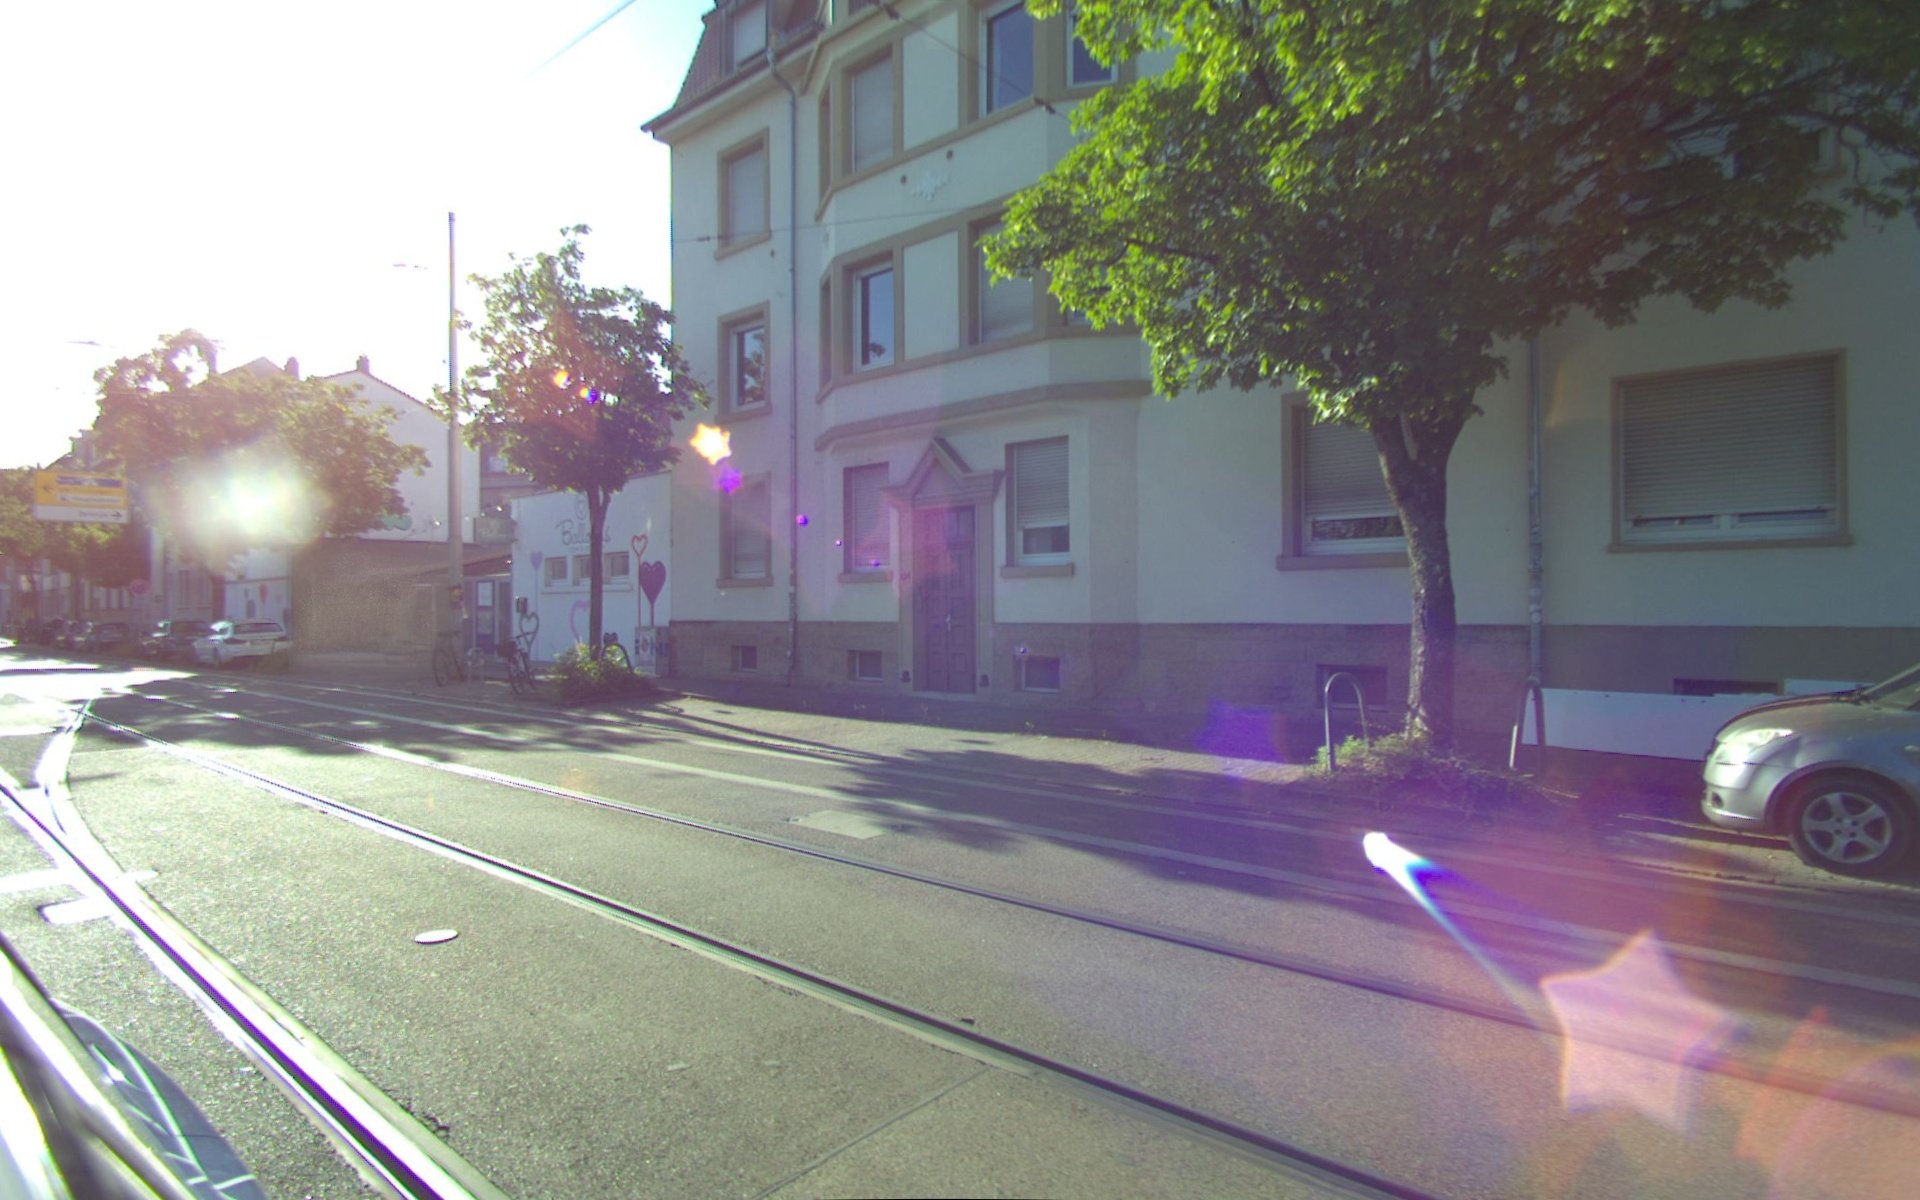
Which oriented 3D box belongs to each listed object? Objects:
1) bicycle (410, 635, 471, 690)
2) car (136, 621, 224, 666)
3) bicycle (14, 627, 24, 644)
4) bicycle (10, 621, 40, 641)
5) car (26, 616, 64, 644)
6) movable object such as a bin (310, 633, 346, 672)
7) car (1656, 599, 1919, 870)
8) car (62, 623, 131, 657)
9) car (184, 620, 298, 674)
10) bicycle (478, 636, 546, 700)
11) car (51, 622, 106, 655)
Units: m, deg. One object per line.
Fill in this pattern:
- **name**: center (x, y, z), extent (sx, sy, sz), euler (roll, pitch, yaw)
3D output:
- **bicycle**: center (-10.990, 1.299, 21.464), extent (0.658, 1.048, 1.791), euler (-1, 0, -11)
- **car**: center (-28.394, 1.530, 36.792), extent (4.303, 1.497, 1.754), euler (-1, 0, 41)
- **bicycle**: center (-59.768, 2.247, 64.282), extent (1.661, 1.050, 0.299), euler (-1, 0, 42)
- **bicycle**: center (-58.270, 1.925, 63.099), extent (0.409, 1.178, 1.326), euler (-1, 0, 42)
- **car**: center (-52.618, 1.726, 58.172), extent (2.546, 1.514, 1.341), euler (-5, -2, 42)
- **movable object such as a bin**: center (-16.939, 1.407, 27.138), extent (0.702, 0.966, 0.576), euler (-1, 4, 42)
- **car**: center (6.505, 0.747, 5.778), extent (3.999, 1.502, 1.634), euler (-1, 0, 42)
- **car**: center (-39.807, 1.798, 46.639), extent (4.291, 1.439, 1.854), euler (-1, 0, 42)
- **car**: center (-22.434, 1.390, 31.513), extent (4.659, 1.502, 1.845), euler (-1, 0, 41)
- **bicycle**: center (-8.323, 1.238, 18.884), extent (0.524, 1.048, 1.989), euler (-1, 0, -5)
- **car**: center (-44.203, 1.907, 50.728), extent (3.999, 1.516, 1.555), euler (-1, 0, 42)
